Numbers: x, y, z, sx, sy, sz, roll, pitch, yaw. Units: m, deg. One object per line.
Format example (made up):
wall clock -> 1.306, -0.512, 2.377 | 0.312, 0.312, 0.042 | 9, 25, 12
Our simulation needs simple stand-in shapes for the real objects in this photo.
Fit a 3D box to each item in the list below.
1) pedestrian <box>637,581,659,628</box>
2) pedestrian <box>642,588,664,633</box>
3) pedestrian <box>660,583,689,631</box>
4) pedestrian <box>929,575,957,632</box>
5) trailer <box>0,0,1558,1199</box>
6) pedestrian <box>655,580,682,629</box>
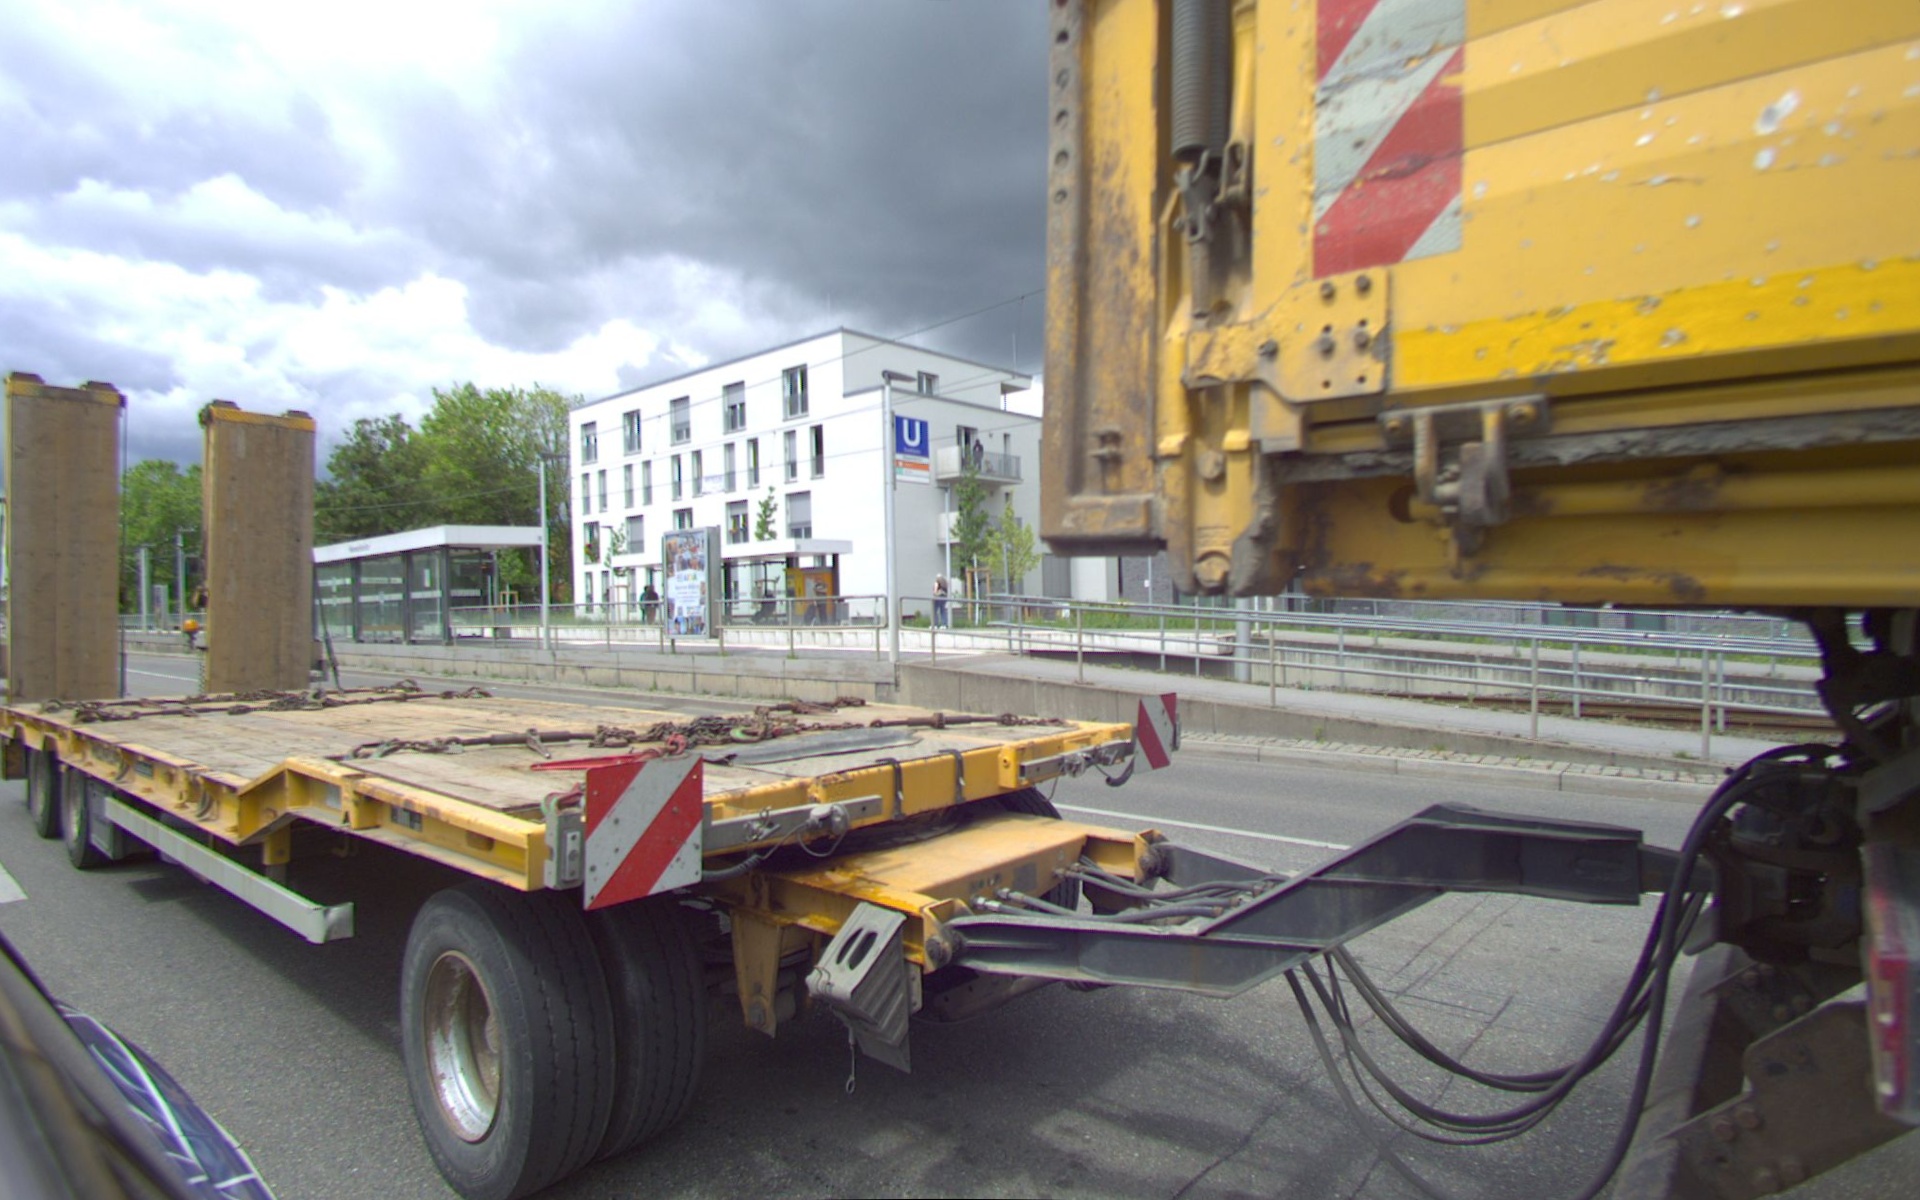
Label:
pedestrian -> -11.801, 0.175, 38.243 | 0.651, 1.767, 0.506 | 0, -1, -37
pedestrian -> -11.391, 0.379, 37.587 | 0.591, 1.663, 0.615 | 0, -1, -37
pedestrian -> -10.747, 0.253, 38.073 | 0.856, 1.770, 0.767 | 0, -1, -33
pedestrian -> -0.496, 0.102, 29.291 | 0.572, 1.633, 0.575 | 0, -1, -37
trailer -> -3.180, -0.320, 5.767 | 10.957, 3.726, 3.018 | -2, -1, 40
pedestrian -> -11.169, 0.169, 38.775 | 0.759, 1.834, 0.767 | 0, -1, -33
